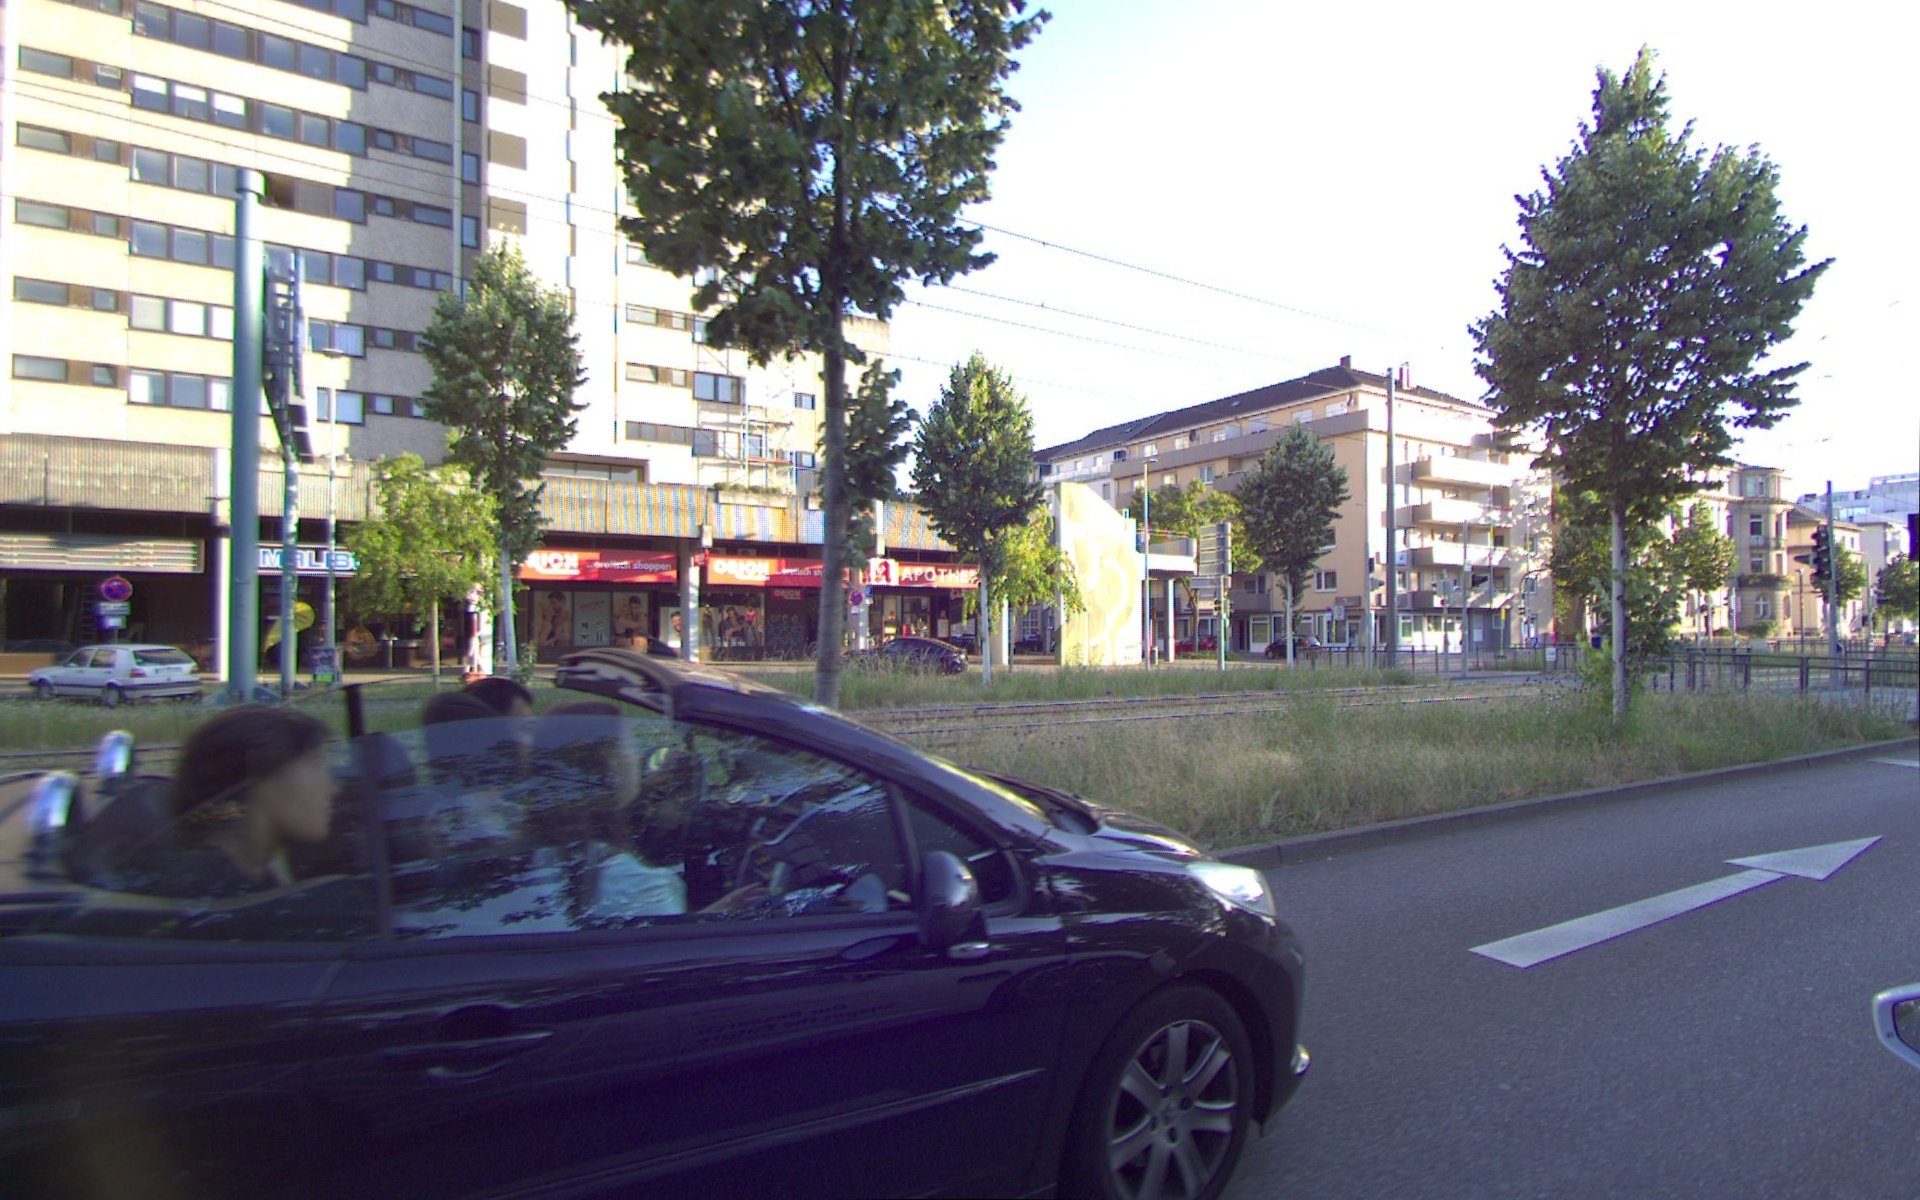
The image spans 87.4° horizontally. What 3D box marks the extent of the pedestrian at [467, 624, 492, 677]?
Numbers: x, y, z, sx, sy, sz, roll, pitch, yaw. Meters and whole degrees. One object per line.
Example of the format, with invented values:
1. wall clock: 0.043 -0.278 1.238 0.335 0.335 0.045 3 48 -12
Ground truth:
1. pedestrian: -15.573 1.635 32.540 0.654 1.683 0.660 1 1 -31

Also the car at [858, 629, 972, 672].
1. car: -1.592 1.764 35.531 3.660 1.469 1.743 -1 -2 25

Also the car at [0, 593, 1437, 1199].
1. car: -0.752 0.735 2.412 3.860 1.469 1.708 0 -1 -34

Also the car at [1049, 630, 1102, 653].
1. car: 9.459 3.390 82.575 2.093 1.779 4.304 1 -2 -33

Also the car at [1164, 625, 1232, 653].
1. car: 16.782 2.767 71.010 2.143 1.792 4.307 -1 -3 -32

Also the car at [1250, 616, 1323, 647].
1. car: 20.567 1.991 63.297 2.168 1.870 3.911 1 -2 -33

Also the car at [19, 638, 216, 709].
1. car: -20.297 1.715 24.212 4.049 1.455 1.825 1 0 19

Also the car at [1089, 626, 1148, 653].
1. car: 12.264 3.013 77.930 2.143 2.016 4.462 1 -2 -33
